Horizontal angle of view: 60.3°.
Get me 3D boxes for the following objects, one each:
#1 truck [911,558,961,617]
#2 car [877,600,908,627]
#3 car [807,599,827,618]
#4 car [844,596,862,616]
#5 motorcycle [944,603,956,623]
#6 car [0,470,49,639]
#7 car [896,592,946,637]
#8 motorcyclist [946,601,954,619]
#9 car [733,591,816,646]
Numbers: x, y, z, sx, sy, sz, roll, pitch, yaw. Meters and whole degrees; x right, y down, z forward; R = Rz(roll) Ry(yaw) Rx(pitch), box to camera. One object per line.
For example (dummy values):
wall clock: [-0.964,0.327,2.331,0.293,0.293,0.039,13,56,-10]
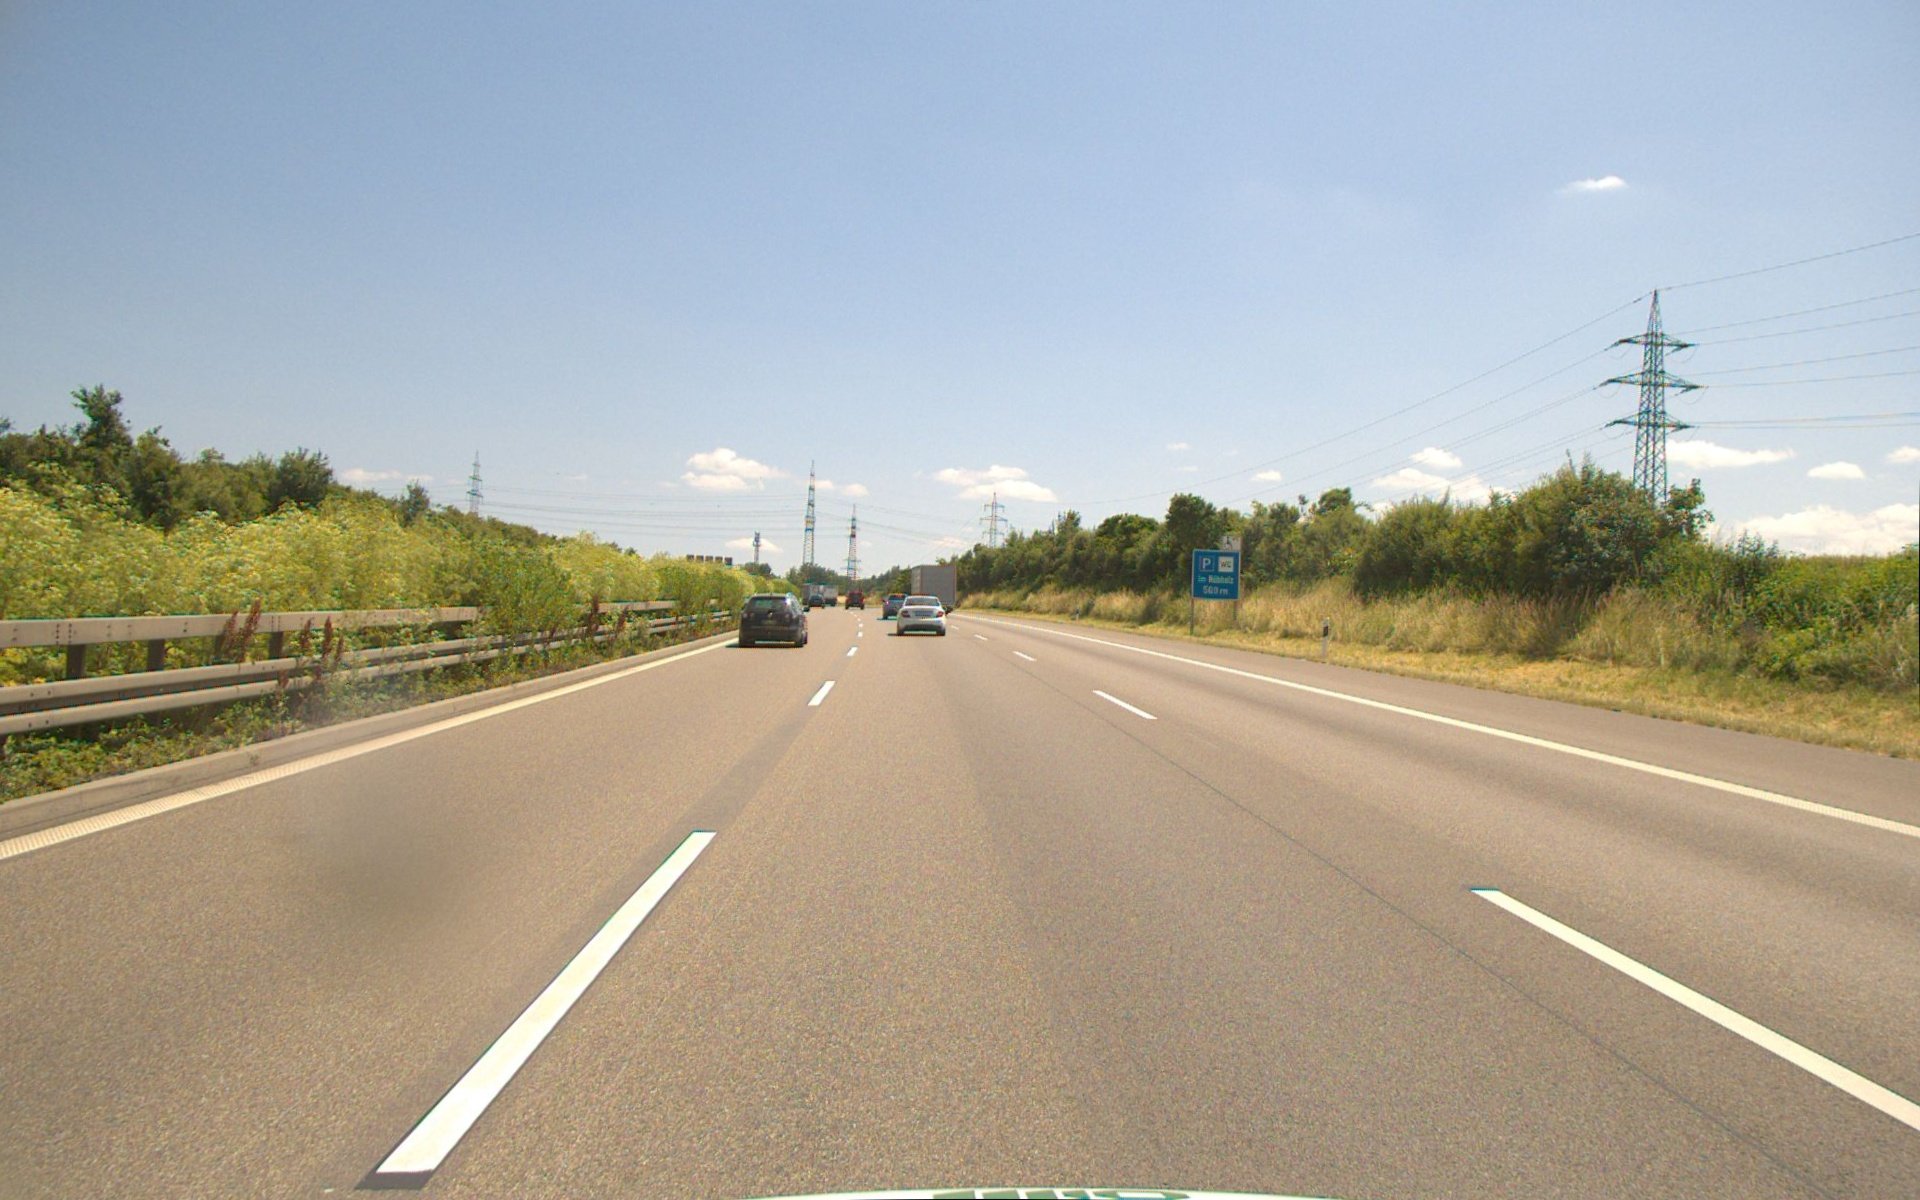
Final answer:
truck: [-1.783,-0.797,117.707,3.157,3.993,9.054,1,-1,-3]
car: [-4.013,0.775,99.221,1.802,1.567,3.913,1,0,-2]
car: [-15.074,0.892,174.372,1.954,1.892,3.998,1,0,-3]
car: [-11.078,0.614,171.049,1.864,1.959,3.996,1,0,-5]
motorcycle: [-0.812,1.042,132.572,0.793,1.635,1.781,1,-1,-3]
car: [-20.690,-0.919,30.768,2.736,3.411,8.795,1,0,-1]
car: [-1.446,0.508,60.905,1.783,1.567,3.913,1,0,-2]
motorcyclist: [-0.809,0.799,132.442,0.561,1.505,0.700,1,0,-3]
car: [-5.117,0.494,46.046,1.720,1.454,4.001,1,0,2]
